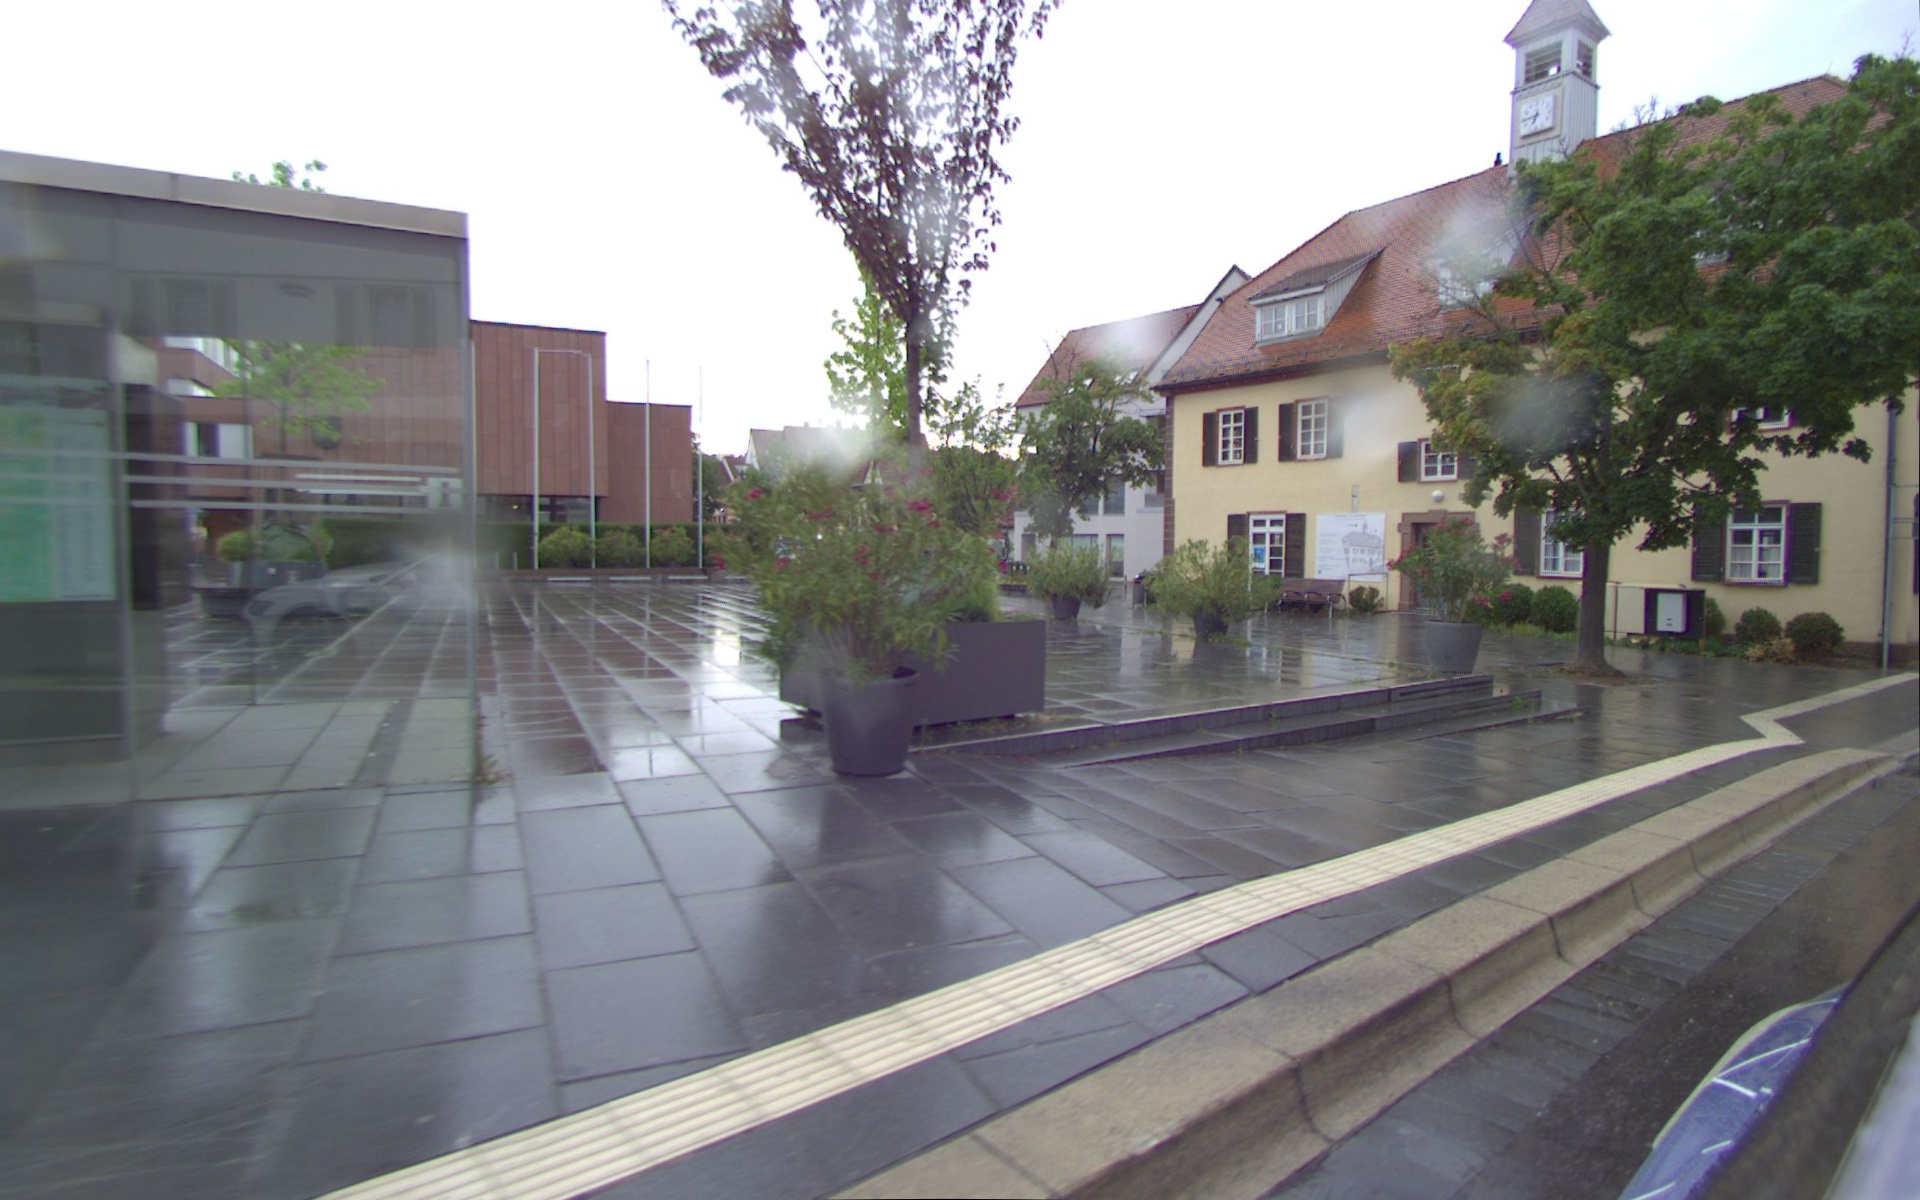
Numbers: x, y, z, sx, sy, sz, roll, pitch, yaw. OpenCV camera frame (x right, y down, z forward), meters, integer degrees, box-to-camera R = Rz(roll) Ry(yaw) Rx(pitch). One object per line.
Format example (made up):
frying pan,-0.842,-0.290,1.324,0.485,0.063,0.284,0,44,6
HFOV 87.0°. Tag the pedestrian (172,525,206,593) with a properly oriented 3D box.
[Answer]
pedestrian,-27.091,-1.445,35.575,0.783,2.335,0.905,0,4,-29
